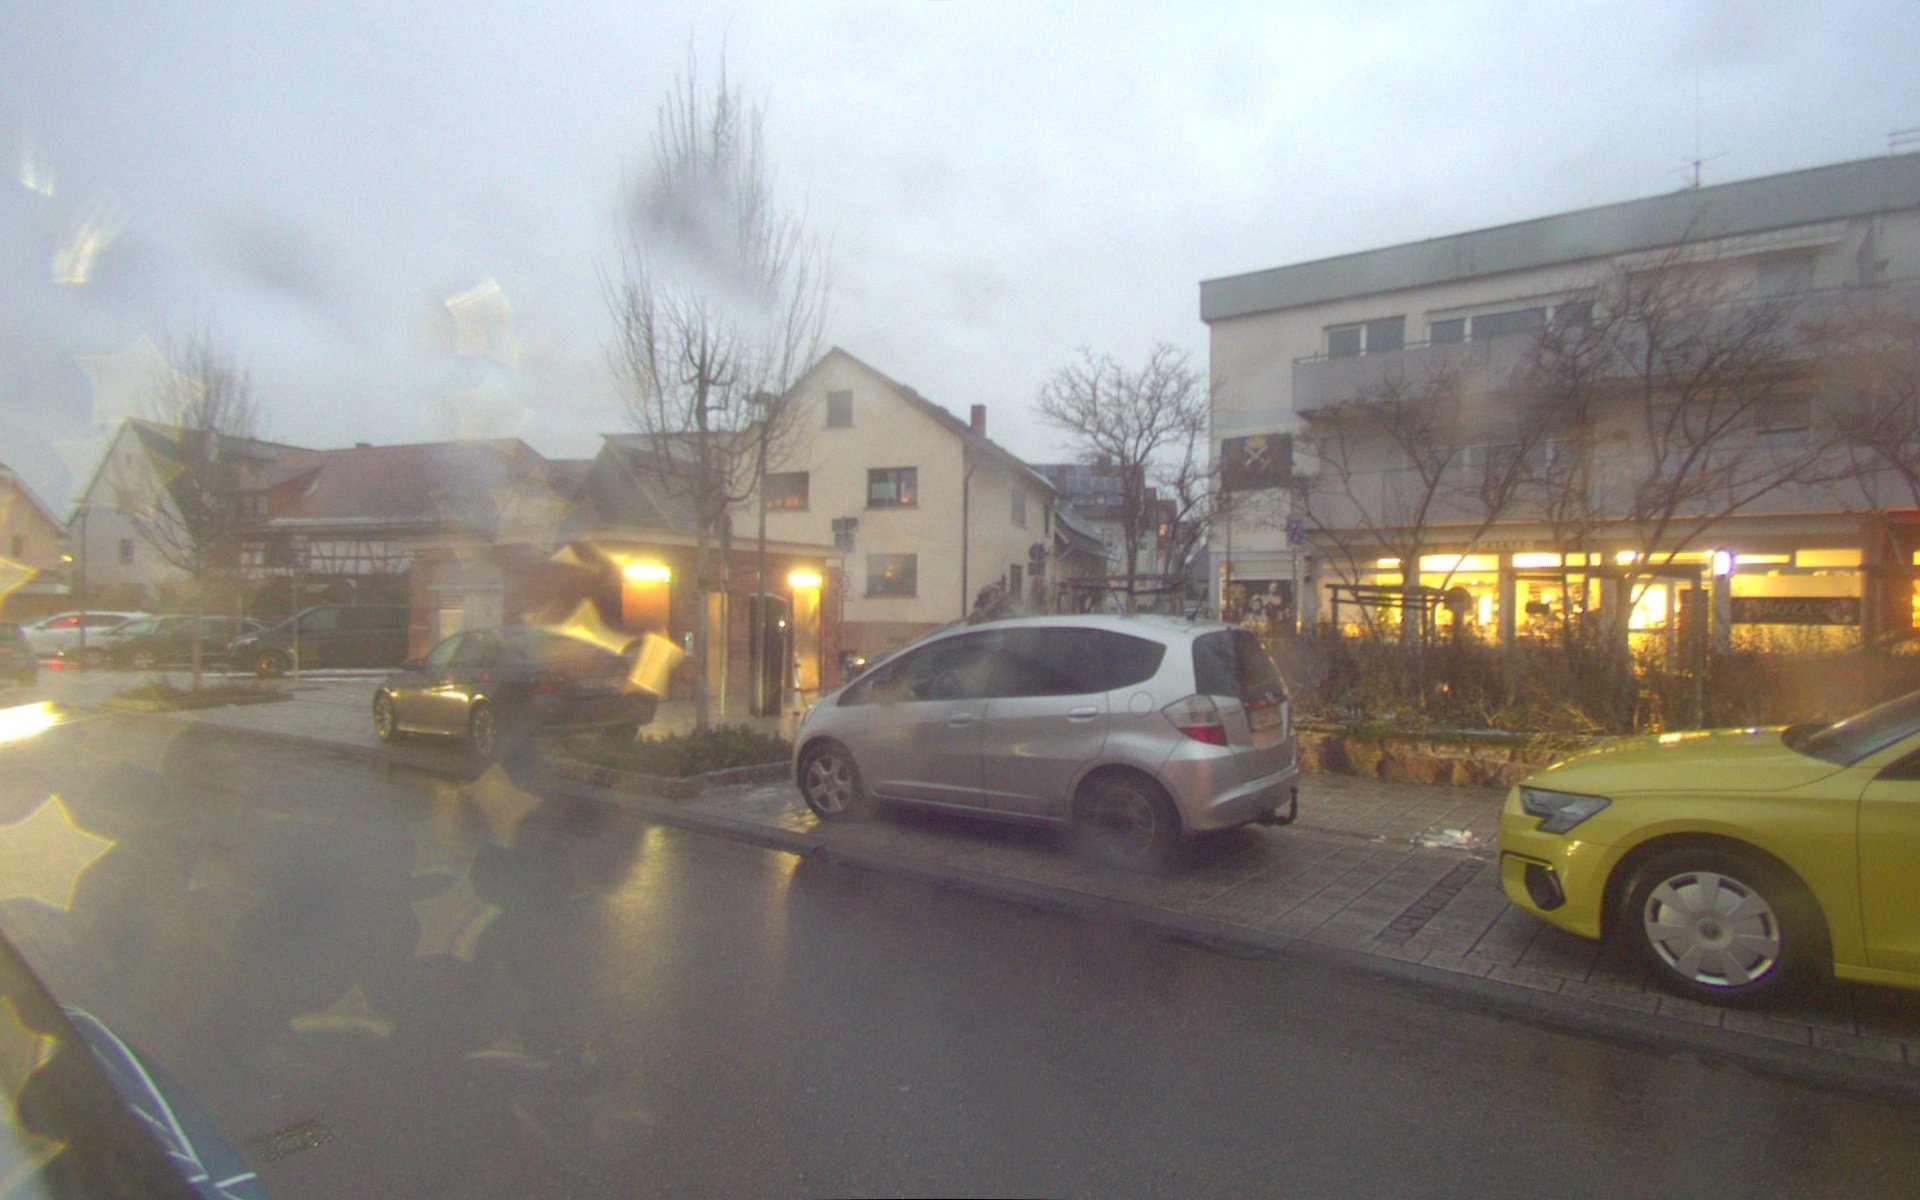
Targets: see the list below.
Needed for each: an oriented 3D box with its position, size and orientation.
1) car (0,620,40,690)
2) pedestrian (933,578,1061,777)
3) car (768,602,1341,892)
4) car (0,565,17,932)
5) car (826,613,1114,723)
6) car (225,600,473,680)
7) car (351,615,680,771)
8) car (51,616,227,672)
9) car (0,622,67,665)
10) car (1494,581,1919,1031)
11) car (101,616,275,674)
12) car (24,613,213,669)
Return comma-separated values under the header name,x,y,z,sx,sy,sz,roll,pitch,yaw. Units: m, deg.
name,x,y,z,sx,sy,sz,roll,pitch,yaw
car,-23.022,1.251,23.152,3.658,1.547,1.822,-1,-1,28
pedestrian,0.369,0.745,10.199,1.060,1.881,0.746,-1,-2,41
car,0.529,0.809,7.224,3.768,1.528,1.676,-1,0,38
car,-6.977,0.694,5.265,5.058,1.655,2.243,-1,-1,38
car,0.172,1.000,15.372,4.018,1.488,1.745,2,-3,-26
car,-15.776,1.057,26.348,5.307,1.900,2.079,2,-3,-34
car,-5.365,0.947,11.946,4.454,1.483,1.729,-1,0,39
car,-25.097,1.336,31.044,4.049,1.594,1.723,2,-3,-41
car,-33.918,1.519,35.313,1.758,1.470,4.015,-1,-2,44
car,4.480,0.682,3.523,4.341,1.527,1.730,-1,0,42
car,-22.524,1.268,29.698,3.934,1.541,2.004,0,-1,-37
car,-27.215,1.293,32.880,4.583,1.666,1.991,1,-2,-41
